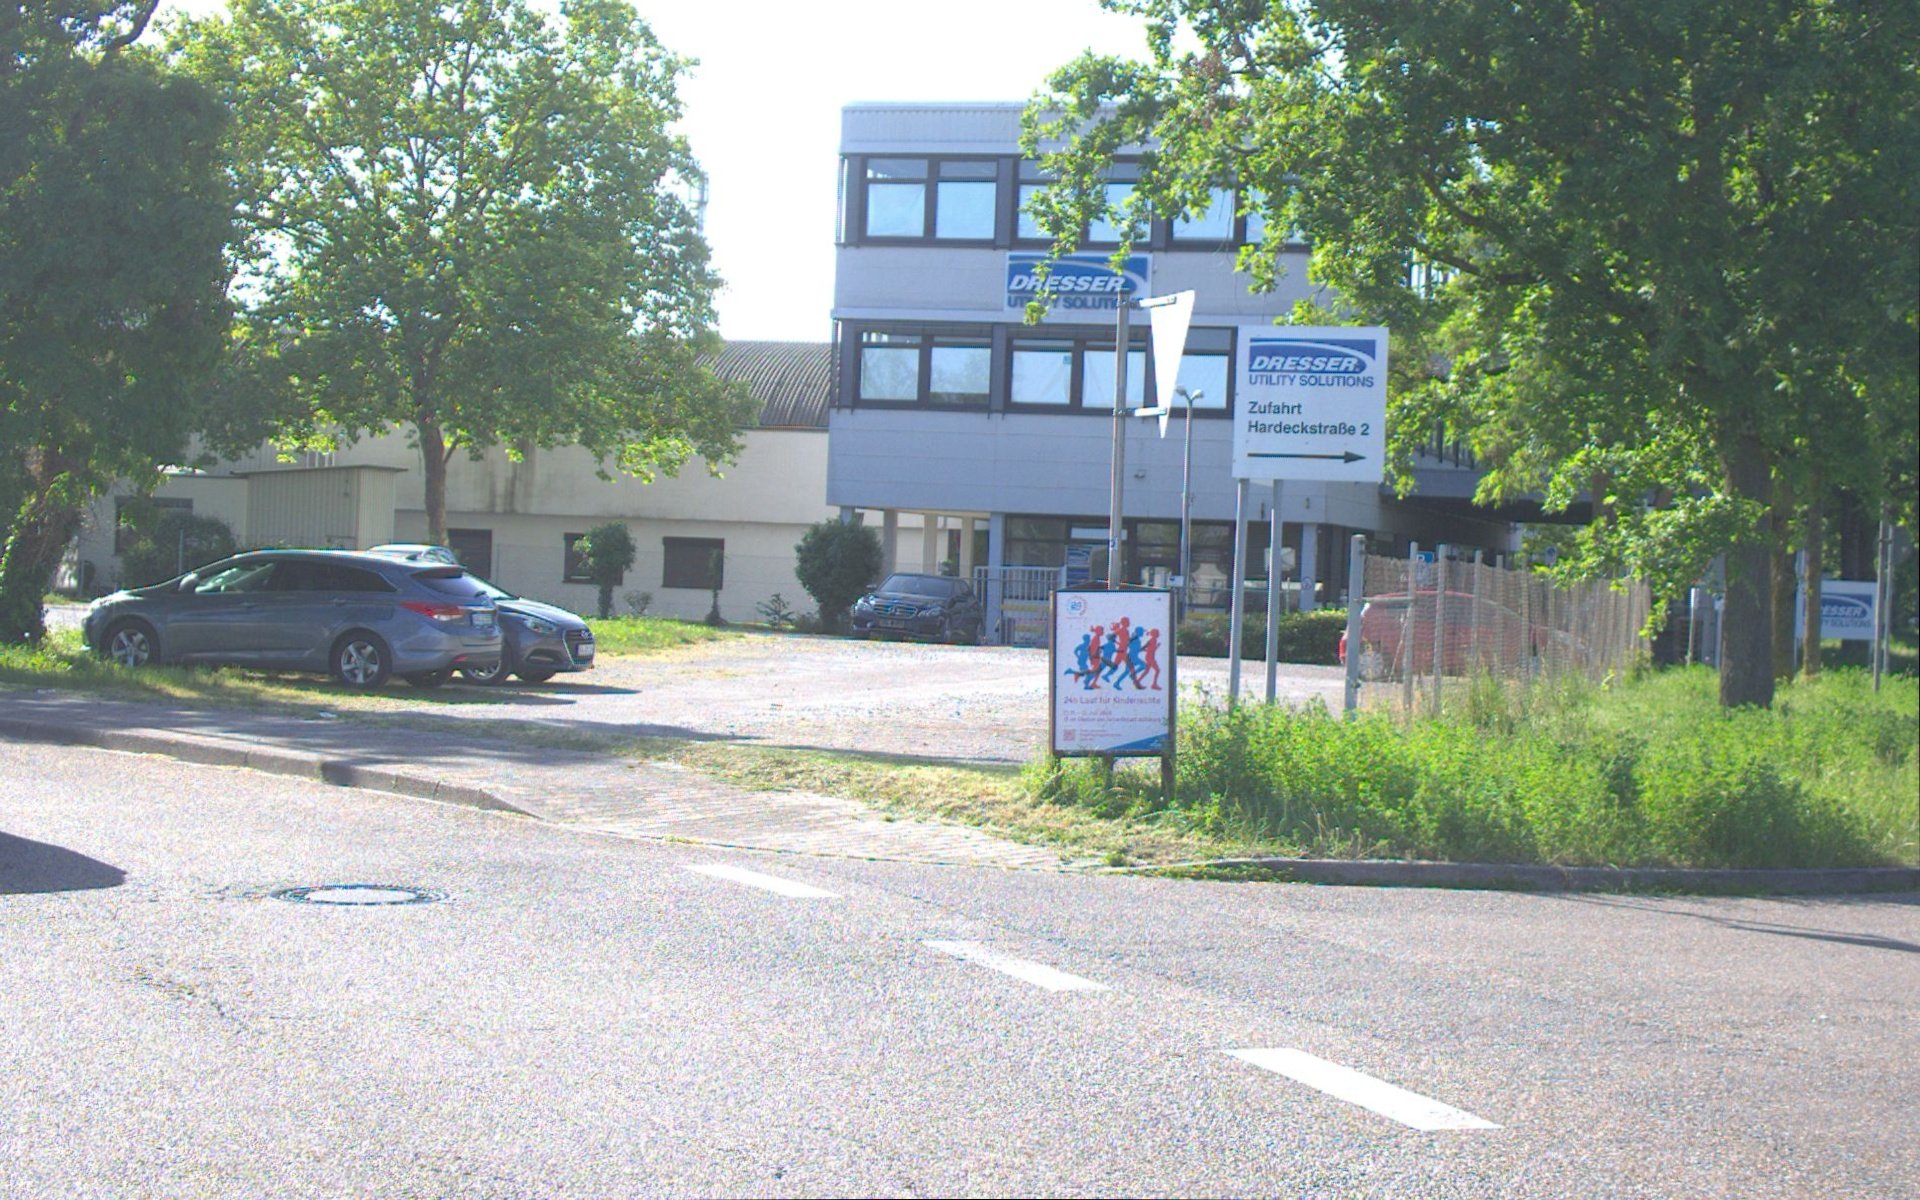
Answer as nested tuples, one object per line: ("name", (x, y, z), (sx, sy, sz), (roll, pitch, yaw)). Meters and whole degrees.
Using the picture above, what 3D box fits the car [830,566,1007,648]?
("car", (-0.781, 0.115, 68.949), (1.995, 1.479, 4.922), (3, 2, 19))

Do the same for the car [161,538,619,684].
("car", (-6.711, 0.117, 40.595), (4.914, 1.479, 1.998), (2, 0, 16))

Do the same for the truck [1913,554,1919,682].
("truck", (27.932, 0.418, 94.762), (2.615, 3.872, 13.523), (3, 1, 14))

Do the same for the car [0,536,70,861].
("car", (-6.196, 0.373, 17.387), (1.942, 1.483, 4.565), (1, 2, -33))

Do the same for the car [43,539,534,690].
("car", (-7.418, 0.140, 38.092), (4.914, 1.421, 1.998), (2, 0, 16))

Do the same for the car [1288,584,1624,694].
("car", (7.862, 0.590, 54.481), (4.916, 1.479, 1.998), (3, 2, 21))
